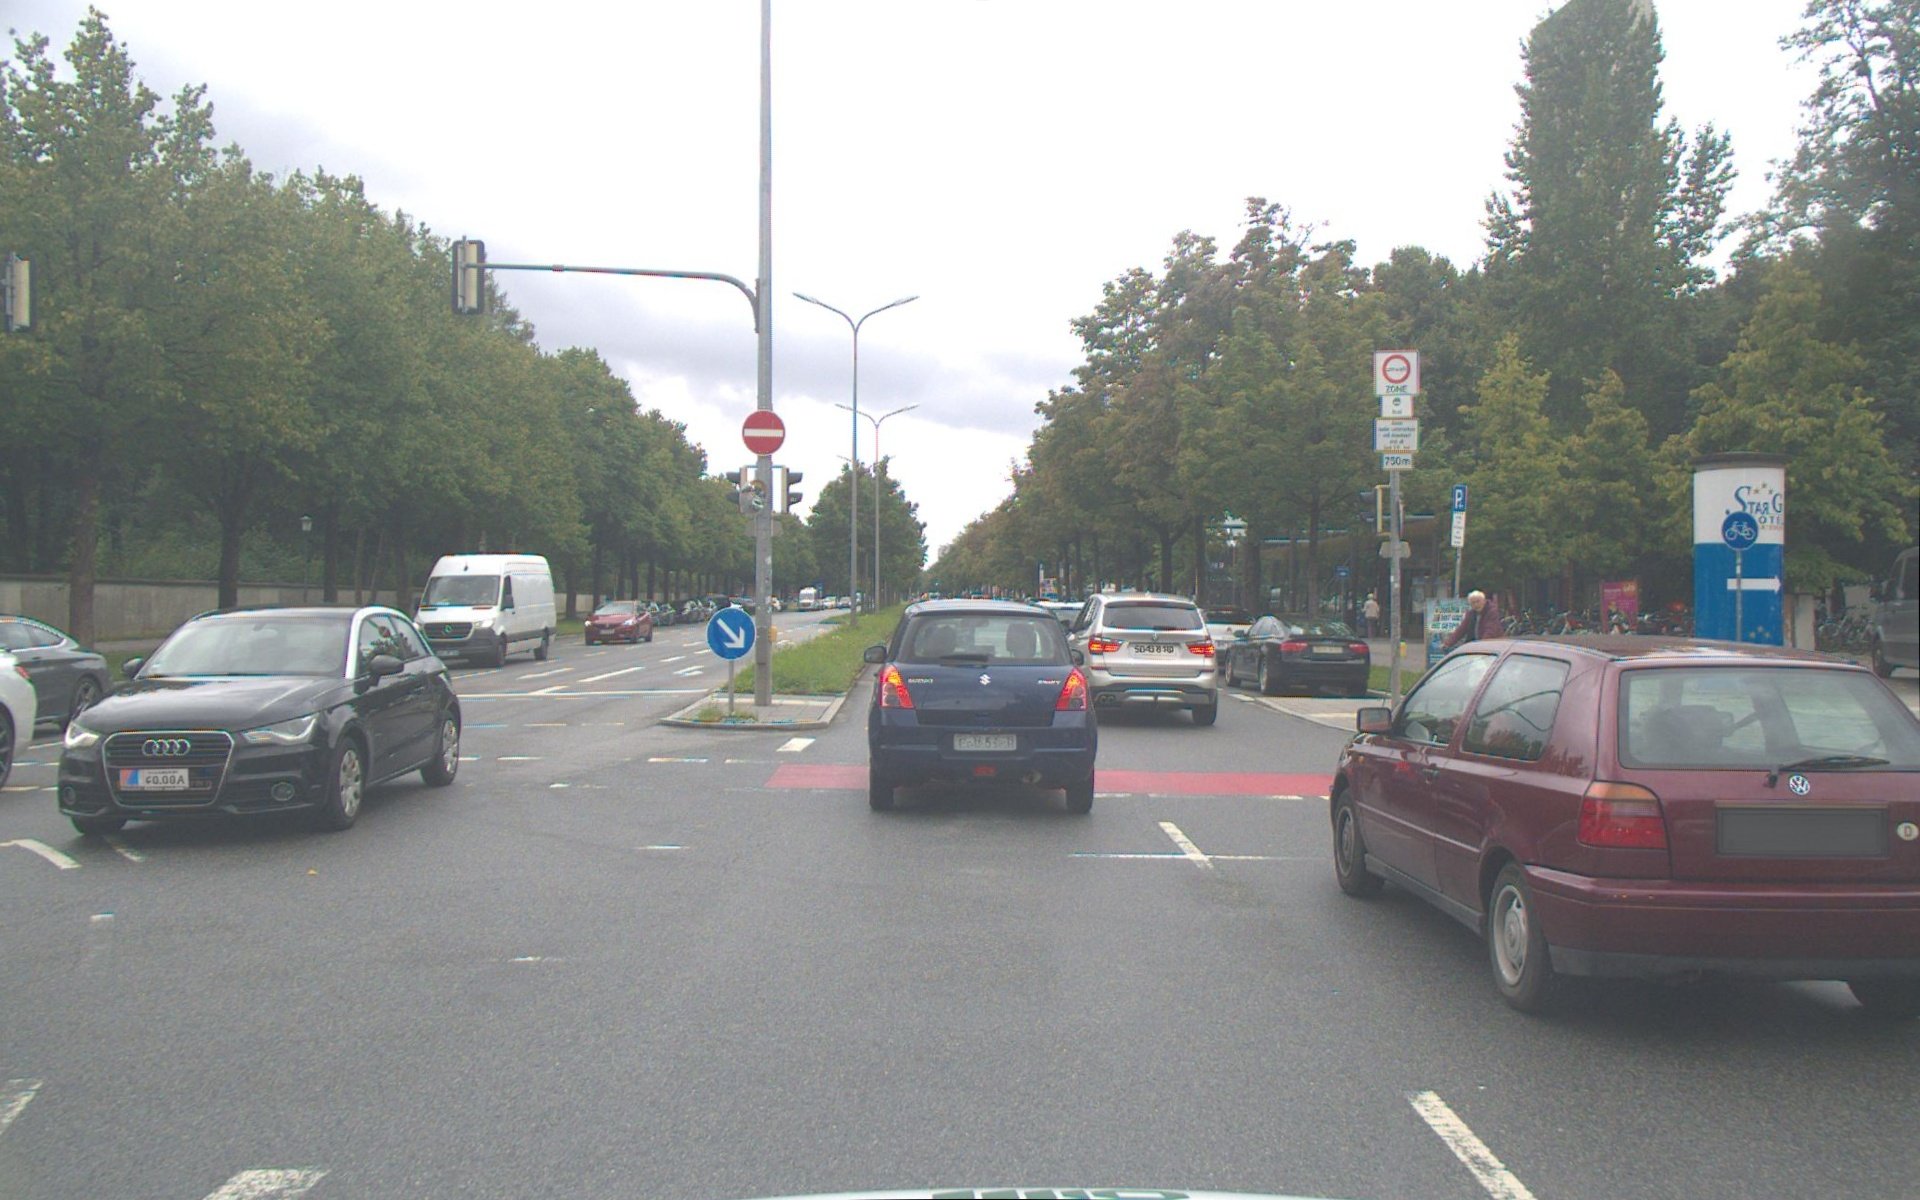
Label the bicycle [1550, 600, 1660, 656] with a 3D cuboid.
[{"bbox_3d":[14.962,0.646,38.384,2.291,1.177,0.585,-2,0,-2],"label":"bicycle"}]

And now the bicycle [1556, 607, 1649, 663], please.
[{"bbox_3d":[13.857,0.755,35.703,1.768,1.162,0.567,-2,0,4],"label":"bicycle"}]

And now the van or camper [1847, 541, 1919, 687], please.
[{"bbox_3d":[16.832,0.217,27.819,2.096,2.336,6.203,0,0,16],"label":"van or camper"}]

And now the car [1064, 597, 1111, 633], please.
[{"bbox_3d":[5.620,0.643,73.361,1.683,1.535,4.222,0,0,-1],"label":"car"}]

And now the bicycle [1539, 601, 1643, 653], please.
[{"bbox_3d":[15.294,0.650,40.120,2.291,1.177,0.585,-2,0,-2],"label":"bicycle"}]

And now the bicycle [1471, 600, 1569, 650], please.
[{"bbox_3d":[14.150,0.628,41.823,2.291,1.177,0.529,-2,0,-2],"label":"bicycle"}]

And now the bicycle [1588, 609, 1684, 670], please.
[{"bbox_3d":[13.572,0.778,33.206,1.775,1.162,0.565,-2,0,-13],"label":"bicycle"}]

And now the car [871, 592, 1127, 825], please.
[{"bbox_3d":[0.175,0.735,13.310,1.753,1.583,3.998,0,0,-3],"label":"car"}]

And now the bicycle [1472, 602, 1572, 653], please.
[{"bbox_3d":[14.025,0.687,41.268,2.291,1.177,0.529,-2,0,-2],"label":"bicycle"}]

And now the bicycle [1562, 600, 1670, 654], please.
[{"bbox_3d":[15.474,0.638,39.050,2.291,1.177,0.585,-2,0,-2],"label":"bicycle"}]

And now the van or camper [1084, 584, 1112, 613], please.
[{"bbox_3d":[12.574,-0.152,151.447,1.983,2.602,5.955,0,0,-1],"label":"van or camper"}]

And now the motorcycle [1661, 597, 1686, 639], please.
[{"bbox_3d":[20.905,0.505,48.449,0.643,1.198,1.813,0,0,24],"label":"motorcycle"}]

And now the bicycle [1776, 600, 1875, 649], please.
[{"bbox_3d":[22.324,0.631,42.673,2.291,1.177,0.529,-2,0,-2],"label":"bicycle"}]

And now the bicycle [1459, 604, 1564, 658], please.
[{"bbox_3d":[13.113,0.739,39.364,2.291,1.177,0.585,-2,0,-2],"label":"bicycle"}]

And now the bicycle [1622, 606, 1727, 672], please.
[{"bbox_3d":[14.101,0.761,32.643,1.906,1.233,0.565,-2,0,-13],"label":"bicycle"}]

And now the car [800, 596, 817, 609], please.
[{"bbox_3d":[-18.209,0.324,198.416,1.875,1.569,4.185,0,0,-3],"label":"car"}]

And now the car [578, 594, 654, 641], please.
[{"bbox_3d":[-11.895,0.590,57.474,1.708,1.477,4.656,-2,1,-1],"label":"car"}]

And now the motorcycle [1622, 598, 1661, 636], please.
[{"bbox_3d":[20.204,0.500,49.008,0.645,1.080,1.806,0,0,36],"label":"motorcycle"}]

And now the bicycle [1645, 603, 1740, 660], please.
[{"bbox_3d":[15.789,0.670,35.658,1.769,1.162,0.567,-2,0,-1],"label":"bicycle"}]

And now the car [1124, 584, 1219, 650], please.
[{"bbox_3d":[5.429,0.404,42.966,1.712,1.574,4.640,-1,1,-2],"label":"car"}]

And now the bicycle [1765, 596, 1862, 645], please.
[{"bbox_3d":[22.540,0.534,43.683,2.291,1.177,0.529,-2,0,-2],"label":"bicycle"}]

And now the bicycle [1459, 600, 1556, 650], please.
[{"bbox_3d":[14.021,0.624,42.369,2.291,1.177,0.529,-2,0,-2],"label":"bicycle"}]

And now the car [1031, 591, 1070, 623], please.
[{"bbox_3d":[4.987,0.391,91.237,1.751,1.704,4.594,0,0,-2],"label":"car"}]

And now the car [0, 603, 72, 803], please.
[{"bbox_3d":[-8.126,0.786,11.210,1.692,1.513,4.742,0,0,-1],"label":"car"}]

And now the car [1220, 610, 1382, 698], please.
[{"bbox_3d":[5.967,0.907,29.472,1.676,1.384,4.618,1,0,-3],"label":"car"}]

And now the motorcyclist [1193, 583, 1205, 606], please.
[{"bbox_3d":[18.865,-0.415,130.494,0.677,1.767,0.953,-4,0,-1],"label":"motorcyclist"}]

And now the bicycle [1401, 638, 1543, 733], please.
[{"bbox_3d":[6.433,1.045,20.757,1.927,1.100,0.738,0,0,-37],"label":"bicycle"}]

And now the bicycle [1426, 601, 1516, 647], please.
[{"bbox_3d":[14.139,0.667,45.783,2.291,1.177,0.529,-2,0,-2],"label":"bicycle"}]

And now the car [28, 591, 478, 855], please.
[{"bbox_3d":[-4.612,0.700,11.403,1.606,1.513,3.779,0,0,-3],"label":"car"}]

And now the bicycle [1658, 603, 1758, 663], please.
[{"bbox_3d":[15.325,0.672,33.900,1.768,1.162,0.567,-2,0,4],"label":"bicycle"}]

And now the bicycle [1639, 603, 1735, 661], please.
[{"bbox_3d":[15.378,0.669,35.018,1.769,1.162,0.567,-2,0,-1],"label":"bicycle"}]

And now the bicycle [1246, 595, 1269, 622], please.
[{"bbox_3d":[14.435,0.387,80.242,0.632,1.303,2.550,0,0,-1],"label":"bicycle"}]

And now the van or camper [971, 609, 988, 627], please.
[{"bbox_3d":[2.295,2.077,194.792,1.905,2.009,4.305,0,0,-1],"label":"van or camper"}]

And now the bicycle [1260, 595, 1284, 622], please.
[{"bbox_3d":[15.139,0.388,80.235,0.632,1.303,2.550,0,0,-1],"label":"bicycle"}]

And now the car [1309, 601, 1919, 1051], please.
[{"bbox_3d":[2.852,0.756,7.506,1.589,1.479,3.948,0,0,-2],"label":"car"}]

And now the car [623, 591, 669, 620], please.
[{"bbox_3d":[-17.709,0.287,93.419,1.763,1.516,4.914,1,0,-1],"label":"car"}]

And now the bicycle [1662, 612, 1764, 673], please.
[{"bbox_3d":[14.300,0.798,31.403,1.775,1.090,0.565,-2,0,-13],"label":"bicycle"}]

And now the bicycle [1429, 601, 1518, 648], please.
[{"bbox_3d":[13.926,0.666,44.863,2.296,1.177,0.528,-2,0,-10],"label":"bicycle"}]

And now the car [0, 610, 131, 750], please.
[{"bbox_3d":[-10.930,0.875,17.994,1.688,1.441,4.215,-2,0,-1],"label":"car"}]

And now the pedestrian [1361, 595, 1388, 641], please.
[{"bbox_3d":[13.919,0.598,55.553,0.570,1.539,0.690,0,0,-20],"label":"pedestrian"}]

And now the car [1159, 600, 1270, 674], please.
[{"bbox_3d":[5.712,0.787,37.601,1.678,1.574,4.379,0,0,-2],"label":"car"}]

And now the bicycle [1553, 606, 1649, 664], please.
[{"bbox_3d":[13.402,0.722,34.612,1.767,1.162,0.568,-1,0,8],"label":"bicycle"}]

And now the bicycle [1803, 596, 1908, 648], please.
[{"bbox_3d":[22.107,0.534,40.834,2.291,1.177,0.529,-2,0,-2],"label":"bicycle"}]

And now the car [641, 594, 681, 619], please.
[{"bbox_3d":[-17.819,0.379,98.793,1.625,1.420,4.705,1,0,-1],"label":"car"}]

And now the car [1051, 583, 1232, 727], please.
[{"bbox_3d":[2.350,0.673,22.395,1.813,1.773,4.095,0,0,-3],"label":"car"}]

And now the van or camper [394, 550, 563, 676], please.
[{"bbox_3d":[-11.399,0.263,39.763,2.134,2.693,6.948,-2,0,-2],"label":"van or camper"}]

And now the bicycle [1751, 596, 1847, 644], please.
[{"bbox_3d":[22.473,0.530,44.317,2.291,1.177,0.529,-2,0,-2],"label":"bicycle"}]

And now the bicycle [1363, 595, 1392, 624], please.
[{"bbox_3d":[18.976,0.437,75.211,0.632,1.303,2.550,0,0,-1],"label":"bicycle"}]

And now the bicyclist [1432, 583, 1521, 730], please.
[{"bbox_3d":[6.494,0.693,20.809,0.819,1.795,0.737,0,0,-37],"label":"bicyclist"}]

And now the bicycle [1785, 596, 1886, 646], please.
[{"bbox_3d":[22.271,0.534,42.078,2.291,1.177,0.529,-2,0,-2],"label":"bicycle"}]

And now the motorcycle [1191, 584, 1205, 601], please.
[{"bbox_3d":[18.835,-0.579,130.789,0.682,1.313,2.066,-4,0,-1],"label":"motorcycle"}]

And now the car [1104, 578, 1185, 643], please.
[{"bbox_3d":[5.319,0.262,48.154,1.712,1.754,4.905,1,1,-1],"label":"car"}]

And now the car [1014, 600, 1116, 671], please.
[{"bbox_3d":[2.259,0.751,36.639,1.813,1.472,4.095,0,0,-3],"label":"car"}]
